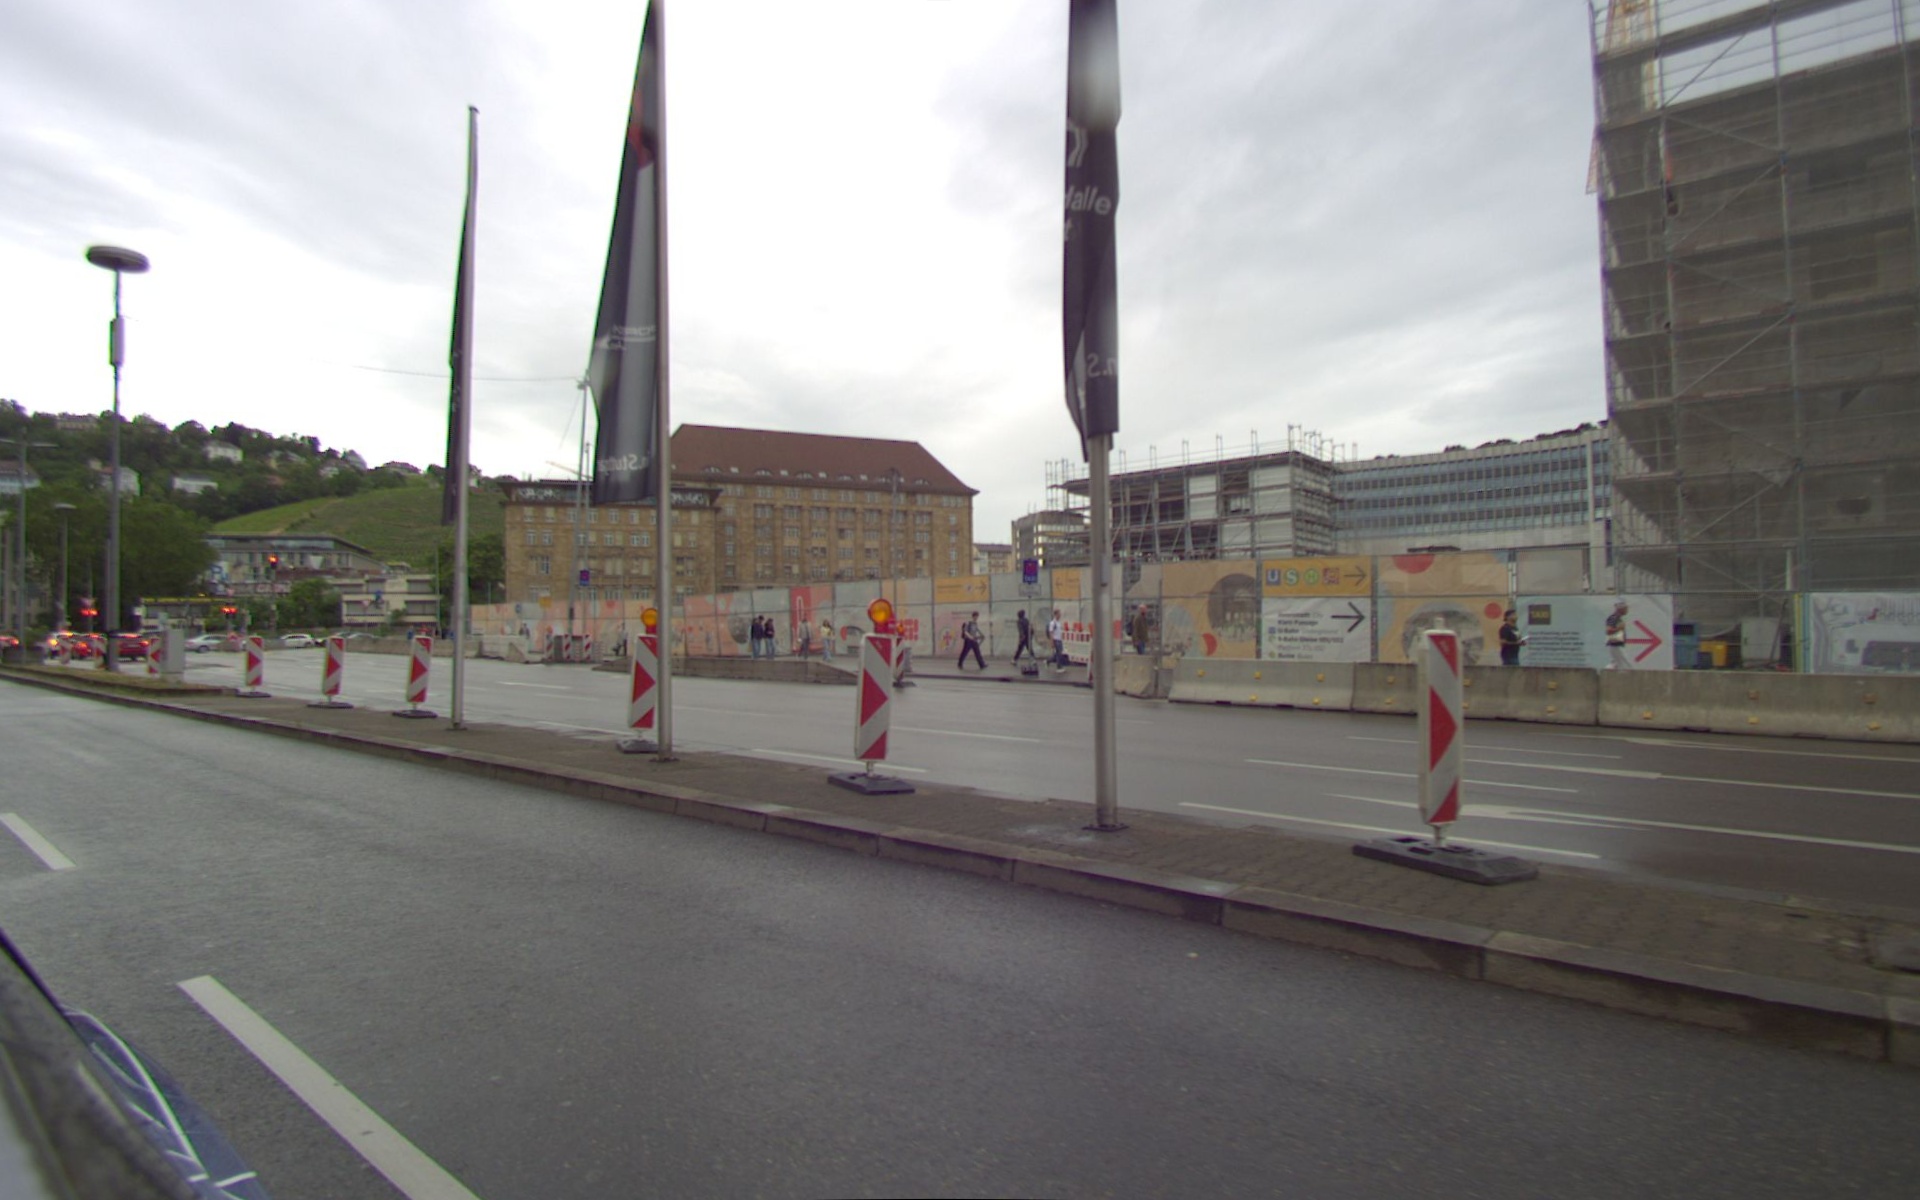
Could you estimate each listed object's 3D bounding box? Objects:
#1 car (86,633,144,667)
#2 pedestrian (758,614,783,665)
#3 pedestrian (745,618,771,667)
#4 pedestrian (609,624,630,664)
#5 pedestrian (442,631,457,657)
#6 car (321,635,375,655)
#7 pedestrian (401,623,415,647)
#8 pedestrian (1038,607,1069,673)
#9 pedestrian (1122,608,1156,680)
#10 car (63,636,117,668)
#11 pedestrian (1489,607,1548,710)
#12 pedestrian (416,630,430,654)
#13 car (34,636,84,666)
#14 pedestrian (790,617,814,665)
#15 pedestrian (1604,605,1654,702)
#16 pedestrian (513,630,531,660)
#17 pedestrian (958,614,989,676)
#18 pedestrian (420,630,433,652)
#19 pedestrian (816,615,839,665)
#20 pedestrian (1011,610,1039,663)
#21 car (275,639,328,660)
[{"bbox_3d":[-45.016,2.636,53.879,3.914,1.707,1.762,-2,-2,41],"label":"car"},{"bbox_3d":[-7.137,1.474,38.025,0.704,1.850,0.719,-1,-1,-30],"label":"pedestrian"},{"bbox_3d":[-7.405,1.551,37.027,0.704,1.746,0.719,-1,-1,-30],"label":"pedestrian"},{"bbox_3d":[-15.986,2.054,47.476,0.720,1.850,0.656,-2,-1,41],"label":"pedestrian"},{"bbox_3d":[-32.678,2.814,64.767,0.544,1.628,0.706,-2,-1,41],"label":"pedestrian"},{"bbox_3d":[-54.458,3.993,90.096,3.934,1.644,2.005,1,-2,-36],"label":"car"},{"bbox_3d":[-38.154,2.407,69.972,0.544,1.628,0.706,-2,-1,41],"label":"pedestrian"},{"bbox_3d":[2.650,1.125,28.714,0.717,1.850,0.475,-2,-1,41],"label":"pedestrian"},{"bbox_3d":[4.679,1.132,26.439,0.717,1.850,0.475,-2,-1,41],"label":"pedestrian"},{"bbox_3d":[-50.617,2.998,58.855,3.913,1.707,1.763,-1,-1,40],"label":"car"},{"bbox_3d":[10.366,1.063,18.774,0.819,1.850,0.572,-2,-1,41],"label":"pedestrian"},{"bbox_3d":[-37.482,2.930,70.655,0.544,1.628,0.706,-2,-1,41],"label":"pedestrian"},{"bbox_3d":[-55.897,3.126,62.771,3.913,1.707,1.763,-1,-1,40],"label":"car"},{"bbox_3d":[-5.910,1.514,37.754,0.704,1.757,0.565,-1,-1,-29],"label":"pedestrian"},{"bbox_3d":[13.064,1.030,19.762,0.717,1.850,0.475,-2,-1,41],"label":"pedestrian"},{"bbox_3d":[-24.075,2.469,55.610,0.544,1.628,0.706,-2,-1,41],"label":"pedestrian"},{"bbox_3d":[0.402,1.366,31.005,0.717,1.850,0.579,-2,-1,41],"label":"pedestrian"},{"bbox_3d":[-40.353,3.080,76.523,0.544,1.628,0.706,-2,-1,41],"label":"pedestrian"},{"bbox_3d":[-4.959,1.487,37.904,0.651,1.850,0.557,-1,-1,-29],"label":"pedestrian"},{"bbox_3d":[2.043,1.126,31.697,0.544,1.628,0.706,-2,-1,41],"label":"pedestrian"},{"bbox_3d":[-65.189,4.842,100.154,4.136,1.871,1.833,-1,-1,-44],"label":"car"}]
